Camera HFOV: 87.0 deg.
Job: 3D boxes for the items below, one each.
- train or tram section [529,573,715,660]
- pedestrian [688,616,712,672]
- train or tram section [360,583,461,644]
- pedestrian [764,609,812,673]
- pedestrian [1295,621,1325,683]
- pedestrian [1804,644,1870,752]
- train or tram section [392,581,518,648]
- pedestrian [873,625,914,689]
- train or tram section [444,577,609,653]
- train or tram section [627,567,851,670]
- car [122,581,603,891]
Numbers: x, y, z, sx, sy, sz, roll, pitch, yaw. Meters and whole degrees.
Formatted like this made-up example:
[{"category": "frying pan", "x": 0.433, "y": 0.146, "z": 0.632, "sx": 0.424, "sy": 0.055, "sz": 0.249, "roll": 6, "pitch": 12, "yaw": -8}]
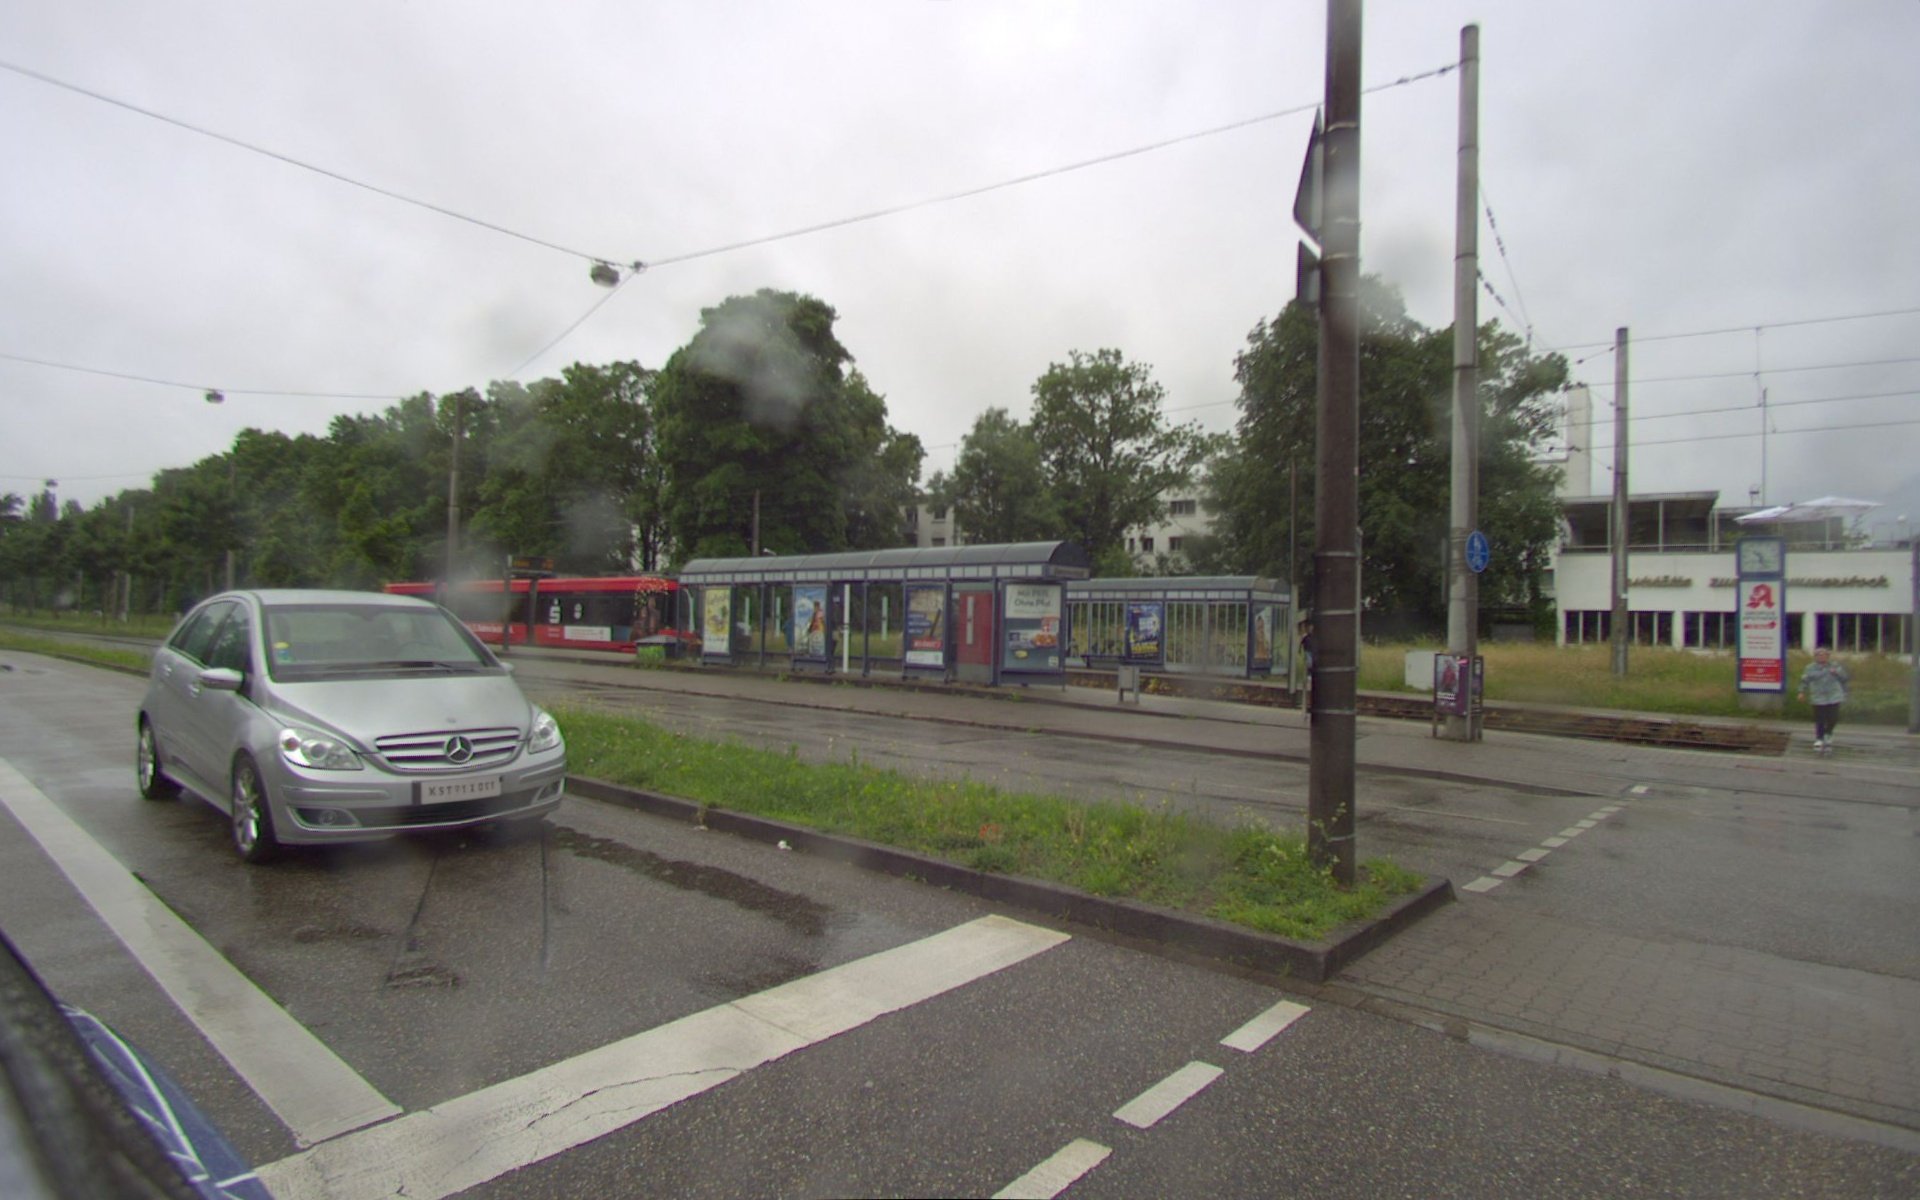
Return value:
[{"category": "train or tram section", "x": -14.844, "y": 0.719, "z": 43.947, "sx": 9.276, "sy": 3.416, "sz": 3.495, "roll": 0, "pitch": -2, "yaw": 42}, {"category": "pedestrian", "x": -7.518, "y": 1.263, "z": 29.254, "sx": 0.514, "sy": 1.574, "sz": 0.603, "roll": 0, "pitch": 0, "yaw": -34}, {"category": "train or tram section", "x": -32.790, "y": 0.826, "z": 60.340, "sx": 5.768, "sy": 3.444, "sz": 3.495, "roll": 0, "pitch": -2, "yaw": 42}, {"category": "pedestrian", "x": -4.466, "y": 1.050, "z": 26.258, "sx": 0.929, "sy": 1.609, "sz": 0.795, "roll": 0, "pitch": -2, "yaw": 44}, {"category": "pedestrian", "x": 10.543, "y": 1.549, "z": 30.496, "sx": 0.680, "sy": 1.806, "sz": 0.623, "roll": 0, "pitch": 0, "yaw": 41}, {"category": "pedestrian", "x": 14.389, "y": 1.585, "z": 16.630, "sx": 0.782, "sy": 1.670, "sz": 0.794, "roll": 0, "pitch": 0, "yaw": 39}, {"category": "train or tram section", "x": -28.018, "y": 0.796, "z": 55.991, "sx": 7.901, "sy": 3.438, "sz": 3.495, "roll": 0, "pitch": -2, "yaw": 42}, {"category": "pedestrian", "x": -1.555, "y": 1.322, "z": 23.598, "sx": 0.699, "sy": 1.464, "sz": 0.618, "roll": -1, "pitch": -3, "yaw": 43}, {"category": "train or tram section", "x": -21.682, "y": 0.757, "z": 50.188, "sx": 10.259, "sy": 3.427, "sz": 3.495, "roll": 0, "pitch": -2, "yaw": 42}, {"category": "train or tram section", "x": -8.524, "y": 0.694, "z": 38.145, "sx": 9.276, "sy": 3.415, "sz": 3.495, "roll": 0, "pitch": -2, "yaw": 42}, {"category": "car", "x": -4.336, "y": 0.693, "z": 7.079, "sx": 4.011, "sy": 1.556, "sz": 1.718, "roll": 0, "pitch": -1, "yaw": 41}]
